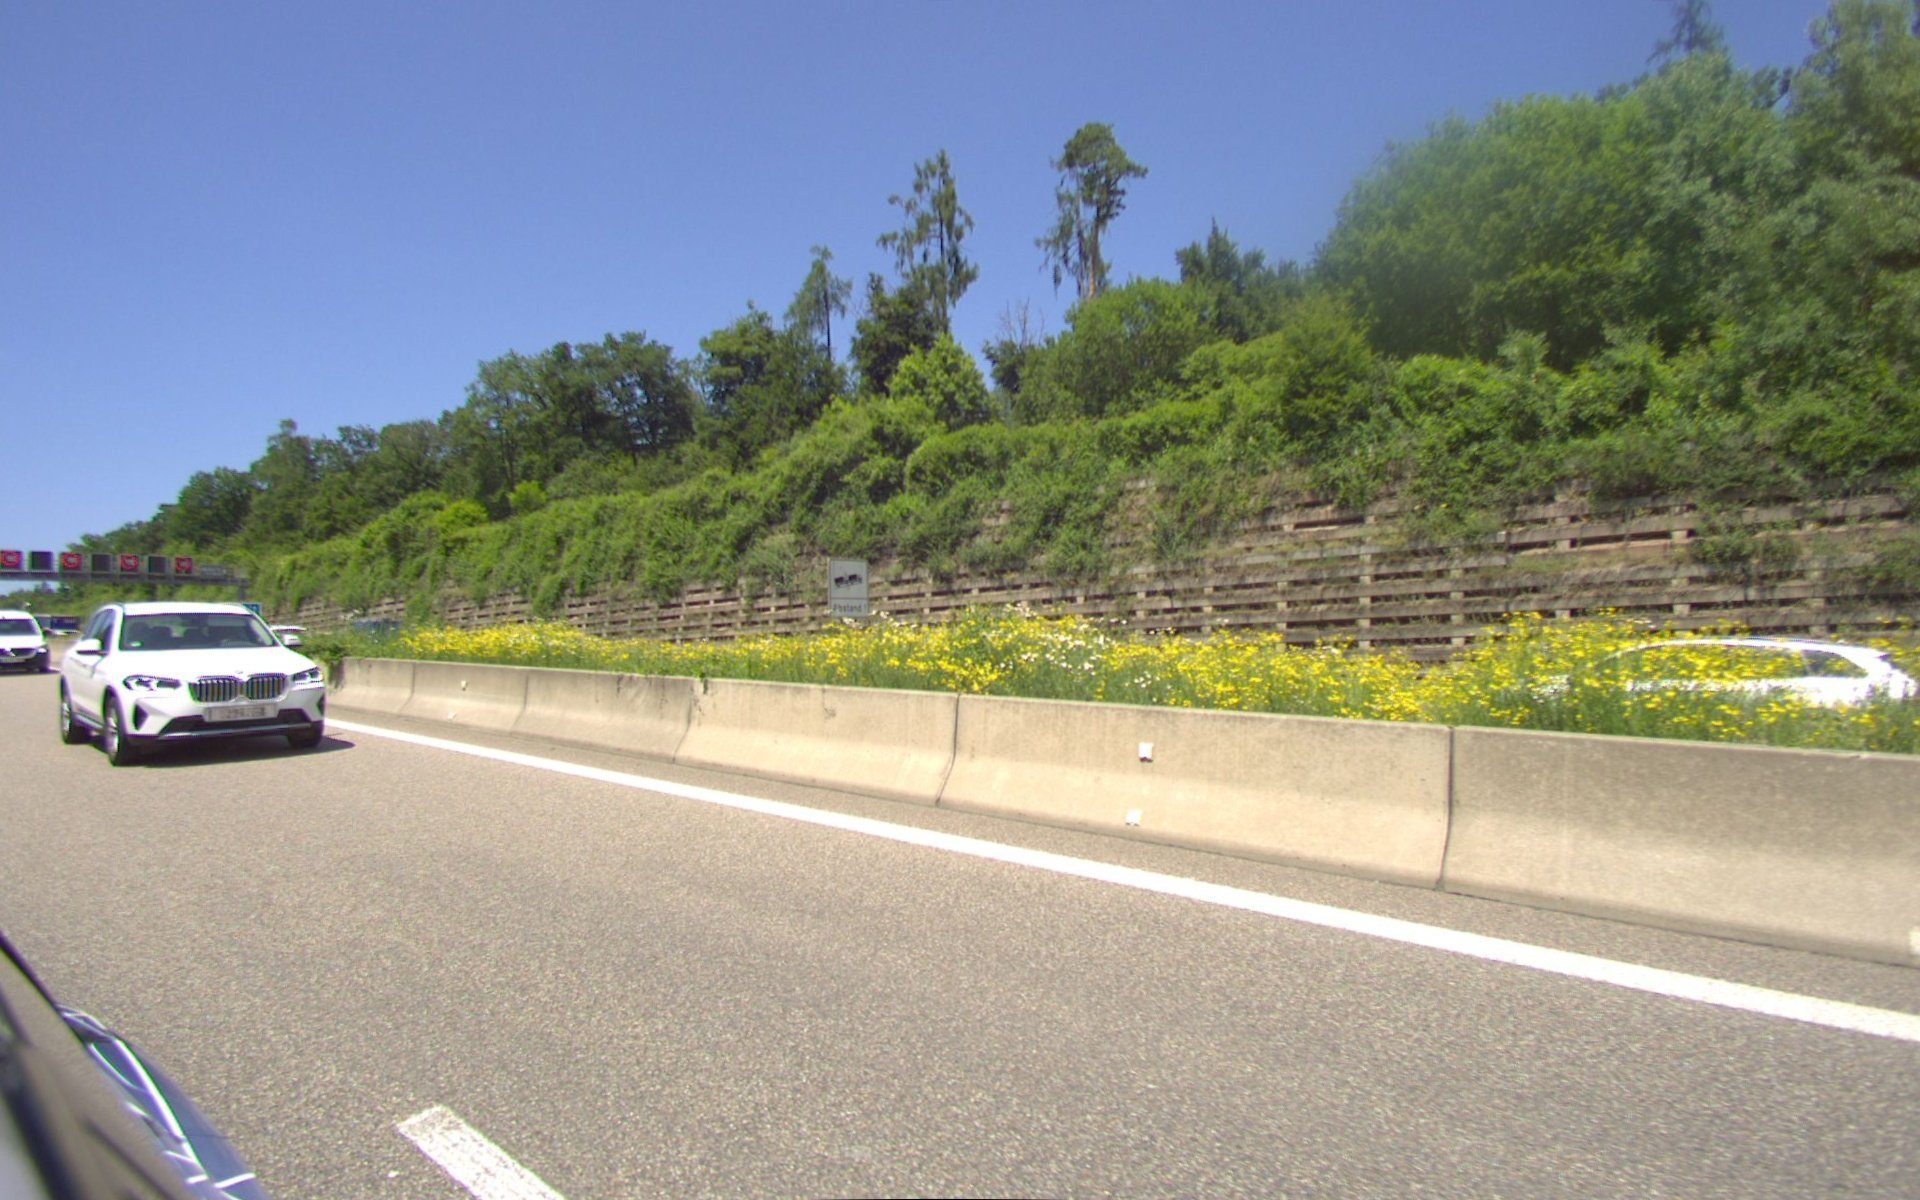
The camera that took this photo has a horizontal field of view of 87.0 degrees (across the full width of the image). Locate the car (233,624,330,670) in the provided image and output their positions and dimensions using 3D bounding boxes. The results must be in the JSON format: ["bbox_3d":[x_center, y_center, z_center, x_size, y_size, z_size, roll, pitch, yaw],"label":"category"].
[{"bbox_3d":[-23.849,1.622,35.532,4.200,1.533,1.770,-2,-2,40],"label":"car"}]

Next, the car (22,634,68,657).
[{"bbox_3d":[-63.400,3.130,70.101,4.202,1.533,1.916,-2,-2,42],"label":"car"}]

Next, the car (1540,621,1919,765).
[{"bbox_3d":[8.827,0.922,10.924,4.200,1.354,1.770,-2,-2,40],"label":"car"}]

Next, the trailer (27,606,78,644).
[{"bbox_3d":[-105.021,2.935,117.072,14.180,4.046,2.652,-3,-2,41],"label":"trailer"}]

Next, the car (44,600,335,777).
[{"bbox_3d":[-9.038,0.878,11.728,4.366,1.656,1.826,-1,0,41],"label":"car"}]

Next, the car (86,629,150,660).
[{"bbox_3d":[-43.440,2.281,52.174,4.199,1.533,1.770,-2,-2,40],"label":"car"}]

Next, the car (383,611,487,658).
[{"bbox_3d":[-18.519,1.208,35.636,4.202,1.533,1.916,-2,-2,42],"label":"car"}]

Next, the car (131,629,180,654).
[{"bbox_3d":[-51.329,2.654,64.567,4.202,1.533,1.769,-2,-2,42],"label":"car"}]

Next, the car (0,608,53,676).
[{"bbox_3d":[-27.304,1.223,28.652,4.500,1.788,1.972,-3,0,43],"label":"car"}]

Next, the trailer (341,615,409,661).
[{"bbox_3d":[-28.679,1.856,49.580,3.494,2.133,1.875,-2,-2,42],"label":"trailer"}]
